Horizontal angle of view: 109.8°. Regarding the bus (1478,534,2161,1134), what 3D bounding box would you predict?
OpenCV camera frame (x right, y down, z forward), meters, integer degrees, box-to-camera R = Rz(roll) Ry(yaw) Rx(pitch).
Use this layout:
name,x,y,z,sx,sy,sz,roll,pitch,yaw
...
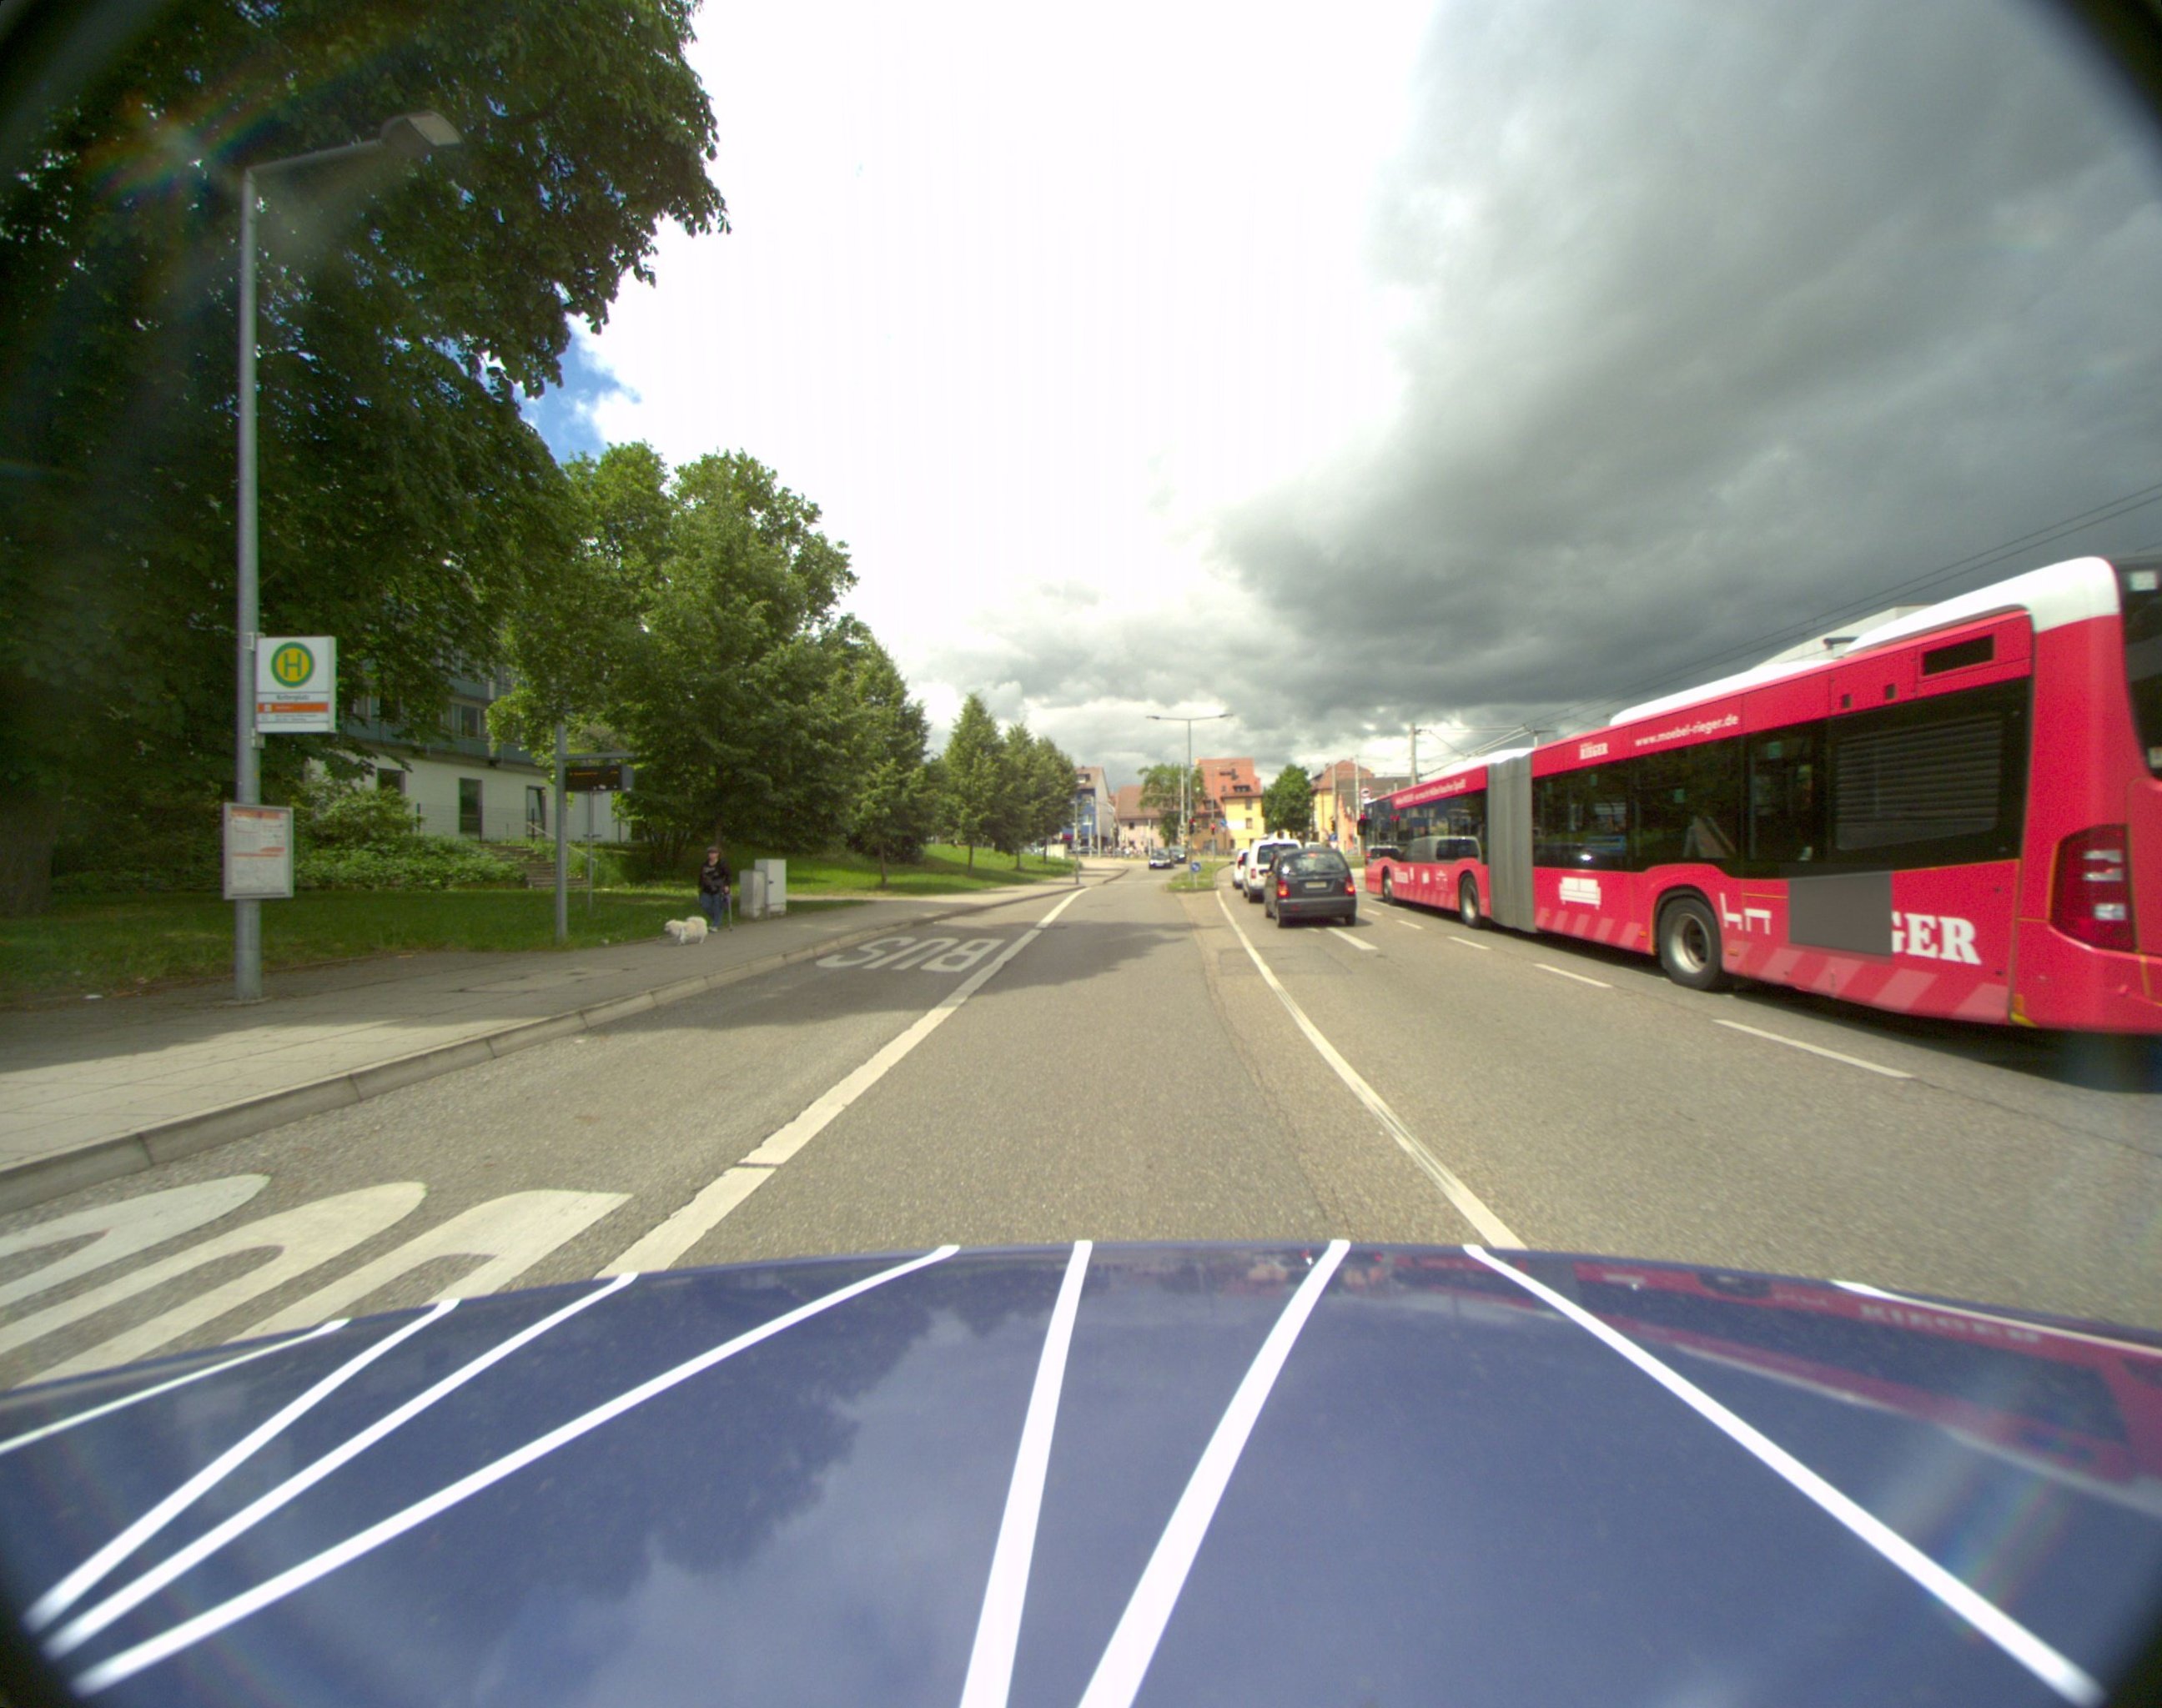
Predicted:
name,x,y,z,sx,sy,sz,roll,pitch,yaw
bus,7.317,-0.122,8.120,2.731,3.052,8.969,0,0,9

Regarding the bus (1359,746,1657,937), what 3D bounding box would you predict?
name,x,y,z,sx,sy,sz,roll,pitch,yaw
bus,8.731,-0.083,17.283,2.731,3.090,9.713,-1,-1,10

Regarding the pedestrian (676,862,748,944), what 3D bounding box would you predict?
name,x,y,z,sx,sy,sz,roll,pitch,yaw
pedestrian,-6.743,0.874,13.912,0.821,1.416,0.830,0,1,9

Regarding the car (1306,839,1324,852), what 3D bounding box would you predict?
name,x,y,z,sx,sy,sz,roll,pitch,yaw
car,35.155,-1.219,114.246,2.078,1.886,4.666,-2,0,10

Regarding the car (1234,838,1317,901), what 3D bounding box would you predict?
name,x,y,z,sx,sy,sz,roll,pitch,yaw
car,5.833,0.472,23.273,1.765,1.652,4.509,-3,-1,6

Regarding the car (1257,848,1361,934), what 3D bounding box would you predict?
name,x,y,z,sx,sy,sz,roll,pitch,yaw
car,4.712,0.692,16.121,1.532,1.542,3.734,-2,0,8

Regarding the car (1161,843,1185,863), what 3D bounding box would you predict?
name,x,y,z,sx,sy,sz,roll,pitch,yaw
car,8.002,-0.077,66.549,1.997,1.639,4.423,-1,-1,6

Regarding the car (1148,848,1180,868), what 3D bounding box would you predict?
name,x,y,z,sx,sy,sz,roll,pitch,yaw
car,6.383,0.327,58.200,1.880,1.420,4.005,-1,-1,15

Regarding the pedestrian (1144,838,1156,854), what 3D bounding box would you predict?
name,x,y,z,sx,sy,sz,roll,pitch,yaw
pedestrian,8.467,-1.003,93.240,0.970,1.830,0.823,3,0,-37

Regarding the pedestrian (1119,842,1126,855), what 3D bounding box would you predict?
name,x,y,z,sx,sy,sz,roll,pitch,yaw
pedestrian,5.348,-0.698,97.613,0.674,1.740,0.588,0,1,17

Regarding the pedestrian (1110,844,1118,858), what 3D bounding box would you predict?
name,x,y,z,sx,sy,sz,roll,pitch,yaw
pedestrian,4.145,-0.408,95.766,0.753,1.740,0.586,-1,1,-19

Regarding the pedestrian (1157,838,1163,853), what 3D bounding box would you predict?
name,x,y,z,sx,sy,sz,roll,pitch,yaw
pedestrian,9.667,-1.037,93.313,0.692,1.740,0.752,0,1,10

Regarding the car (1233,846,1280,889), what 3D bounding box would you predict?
name,x,y,z,sx,sy,sz,roll,pitch,yaw
car,7.218,0.511,31.454,1.702,1.639,4.082,-2,0,11
